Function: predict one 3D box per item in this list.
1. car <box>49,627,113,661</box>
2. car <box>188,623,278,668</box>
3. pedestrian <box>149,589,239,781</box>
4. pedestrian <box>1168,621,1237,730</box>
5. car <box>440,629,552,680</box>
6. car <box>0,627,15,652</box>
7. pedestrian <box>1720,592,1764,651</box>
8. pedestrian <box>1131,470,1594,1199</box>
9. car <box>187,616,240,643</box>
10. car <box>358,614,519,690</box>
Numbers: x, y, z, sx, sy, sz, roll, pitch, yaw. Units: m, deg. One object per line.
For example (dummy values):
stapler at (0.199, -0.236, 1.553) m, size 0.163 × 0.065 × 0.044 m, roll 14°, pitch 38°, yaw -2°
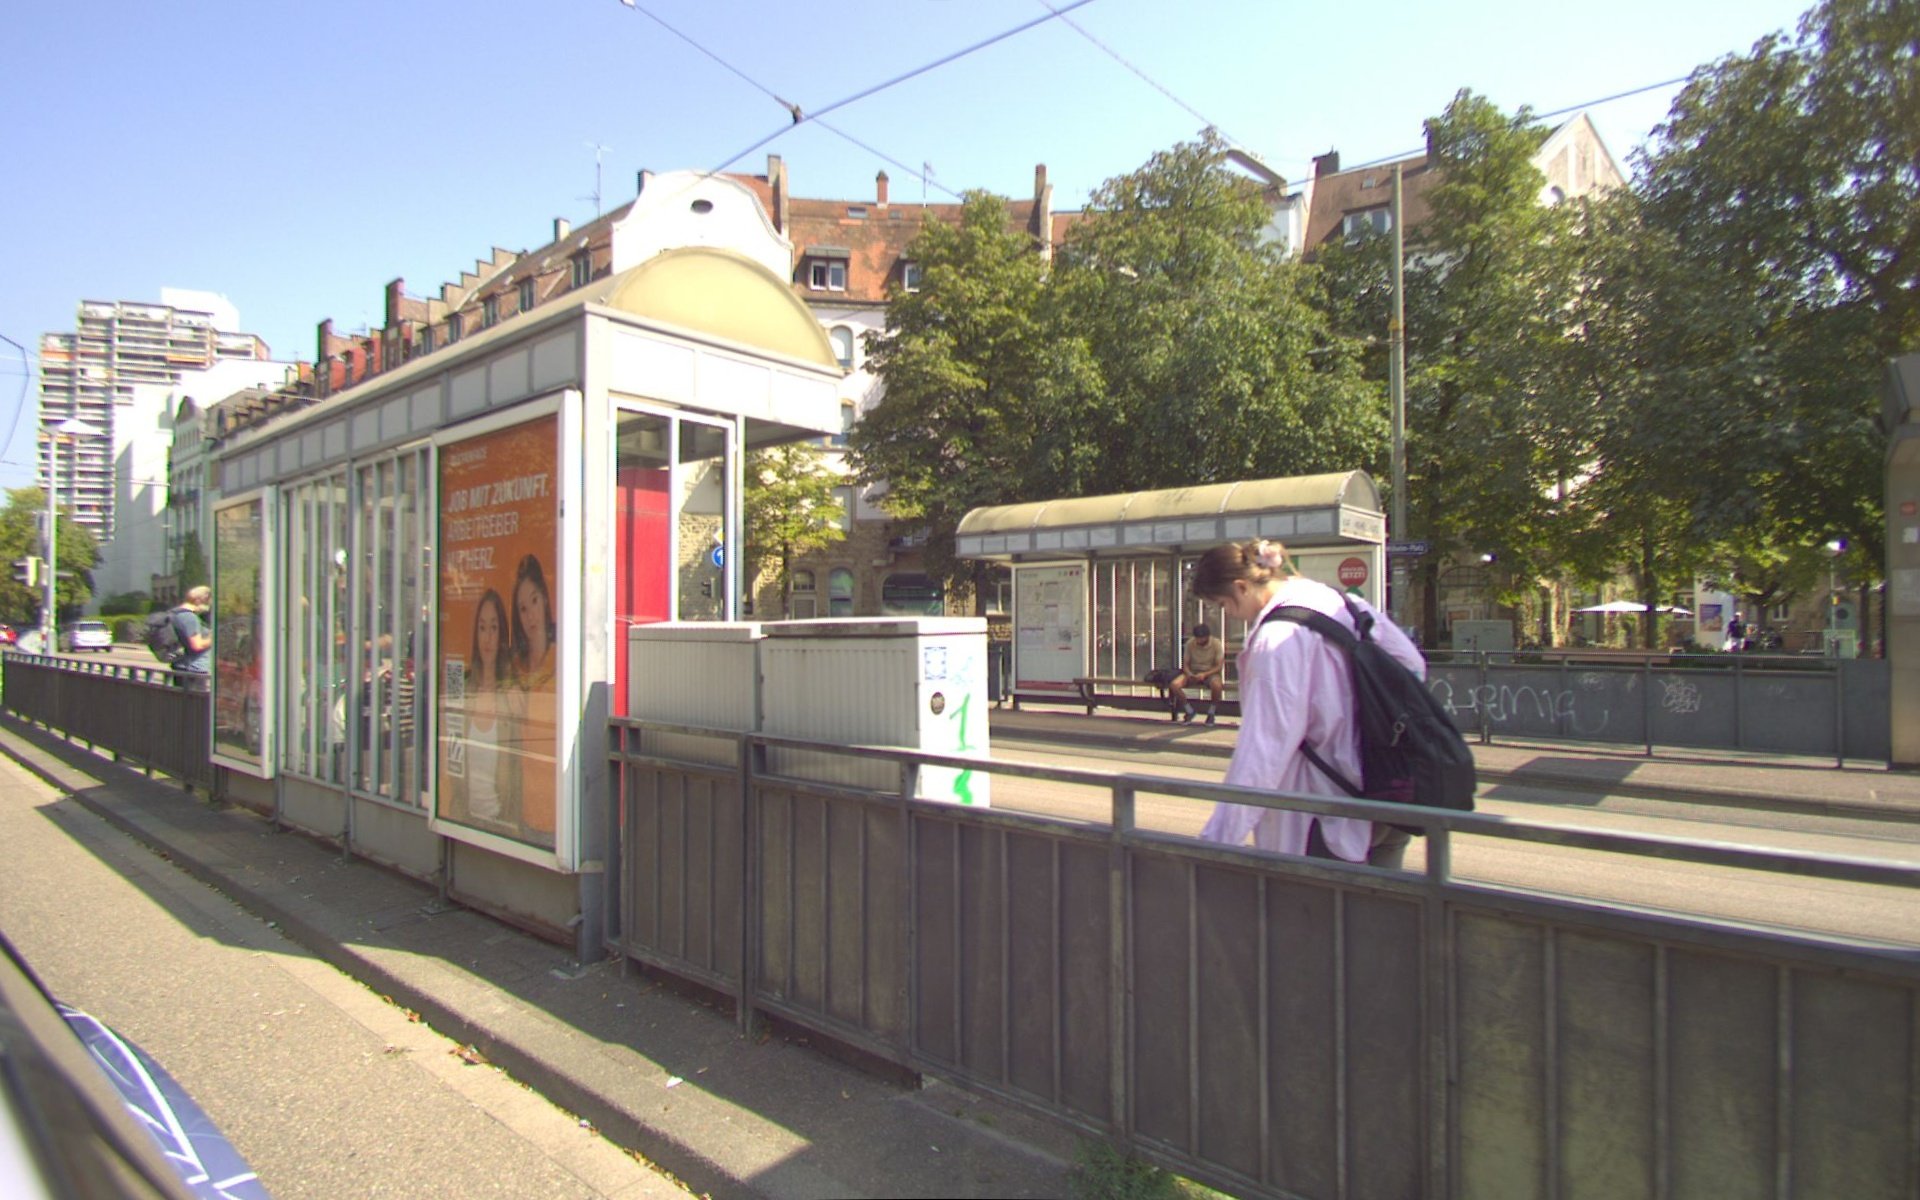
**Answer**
car at (-47.473, 2.354, 54.634) m, size 4.629 × 1.739 × 1.972 m, roll -2°, pitch -3°, yaw 42°
car at (-29.752, 1.824, 41.374) m, size 4.629 × 1.739 × 1.972 m, roll -2°, pitch -3°, yaw 42°
pedestrian at (-7.173, 0.765, 9.470) m, size 0.832 × 1.706 × 0.528 m, roll -2°, pitch -2°, yaw 44°
pedestrian at (2.902, 0.881, 12.132) m, size 0.648 × 1.260 × 0.473 m, roll -2°, pitch -2°, yaw 42°
car at (-16.877, 1.936, 36.698) m, size 4.629 × 1.739 × 1.972 m, roll -2°, pitch -3°, yaw 42°
car at (-67.717, 2.731, 70.743) m, size 4.629 × 1.739 × 1.972 m, roll -2°, pitch -3°, yaw 42°
pedestrian at (27.564, 0.750, 35.668) m, size 1.021 × 2.029 × 1.096 m, roll -1°, pitch 0°, yaw -44°
pedestrian at (0.985, 0.562, 2.489) m, size 0.853 × 1.596 × 0.729 m, roll -2°, pitch -2°, yaw 40°
car at (-50.495, 1.993, 68.421) m, size 4.629 × 1.739 × 1.972 m, roll -2°, pitch -3°, yaw 42°
car at (-13.145, 1.272, 25.389) m, size 4.628 × 1.739 × 1.973 m, roll -2°, pitch -3°, yaw 41°
